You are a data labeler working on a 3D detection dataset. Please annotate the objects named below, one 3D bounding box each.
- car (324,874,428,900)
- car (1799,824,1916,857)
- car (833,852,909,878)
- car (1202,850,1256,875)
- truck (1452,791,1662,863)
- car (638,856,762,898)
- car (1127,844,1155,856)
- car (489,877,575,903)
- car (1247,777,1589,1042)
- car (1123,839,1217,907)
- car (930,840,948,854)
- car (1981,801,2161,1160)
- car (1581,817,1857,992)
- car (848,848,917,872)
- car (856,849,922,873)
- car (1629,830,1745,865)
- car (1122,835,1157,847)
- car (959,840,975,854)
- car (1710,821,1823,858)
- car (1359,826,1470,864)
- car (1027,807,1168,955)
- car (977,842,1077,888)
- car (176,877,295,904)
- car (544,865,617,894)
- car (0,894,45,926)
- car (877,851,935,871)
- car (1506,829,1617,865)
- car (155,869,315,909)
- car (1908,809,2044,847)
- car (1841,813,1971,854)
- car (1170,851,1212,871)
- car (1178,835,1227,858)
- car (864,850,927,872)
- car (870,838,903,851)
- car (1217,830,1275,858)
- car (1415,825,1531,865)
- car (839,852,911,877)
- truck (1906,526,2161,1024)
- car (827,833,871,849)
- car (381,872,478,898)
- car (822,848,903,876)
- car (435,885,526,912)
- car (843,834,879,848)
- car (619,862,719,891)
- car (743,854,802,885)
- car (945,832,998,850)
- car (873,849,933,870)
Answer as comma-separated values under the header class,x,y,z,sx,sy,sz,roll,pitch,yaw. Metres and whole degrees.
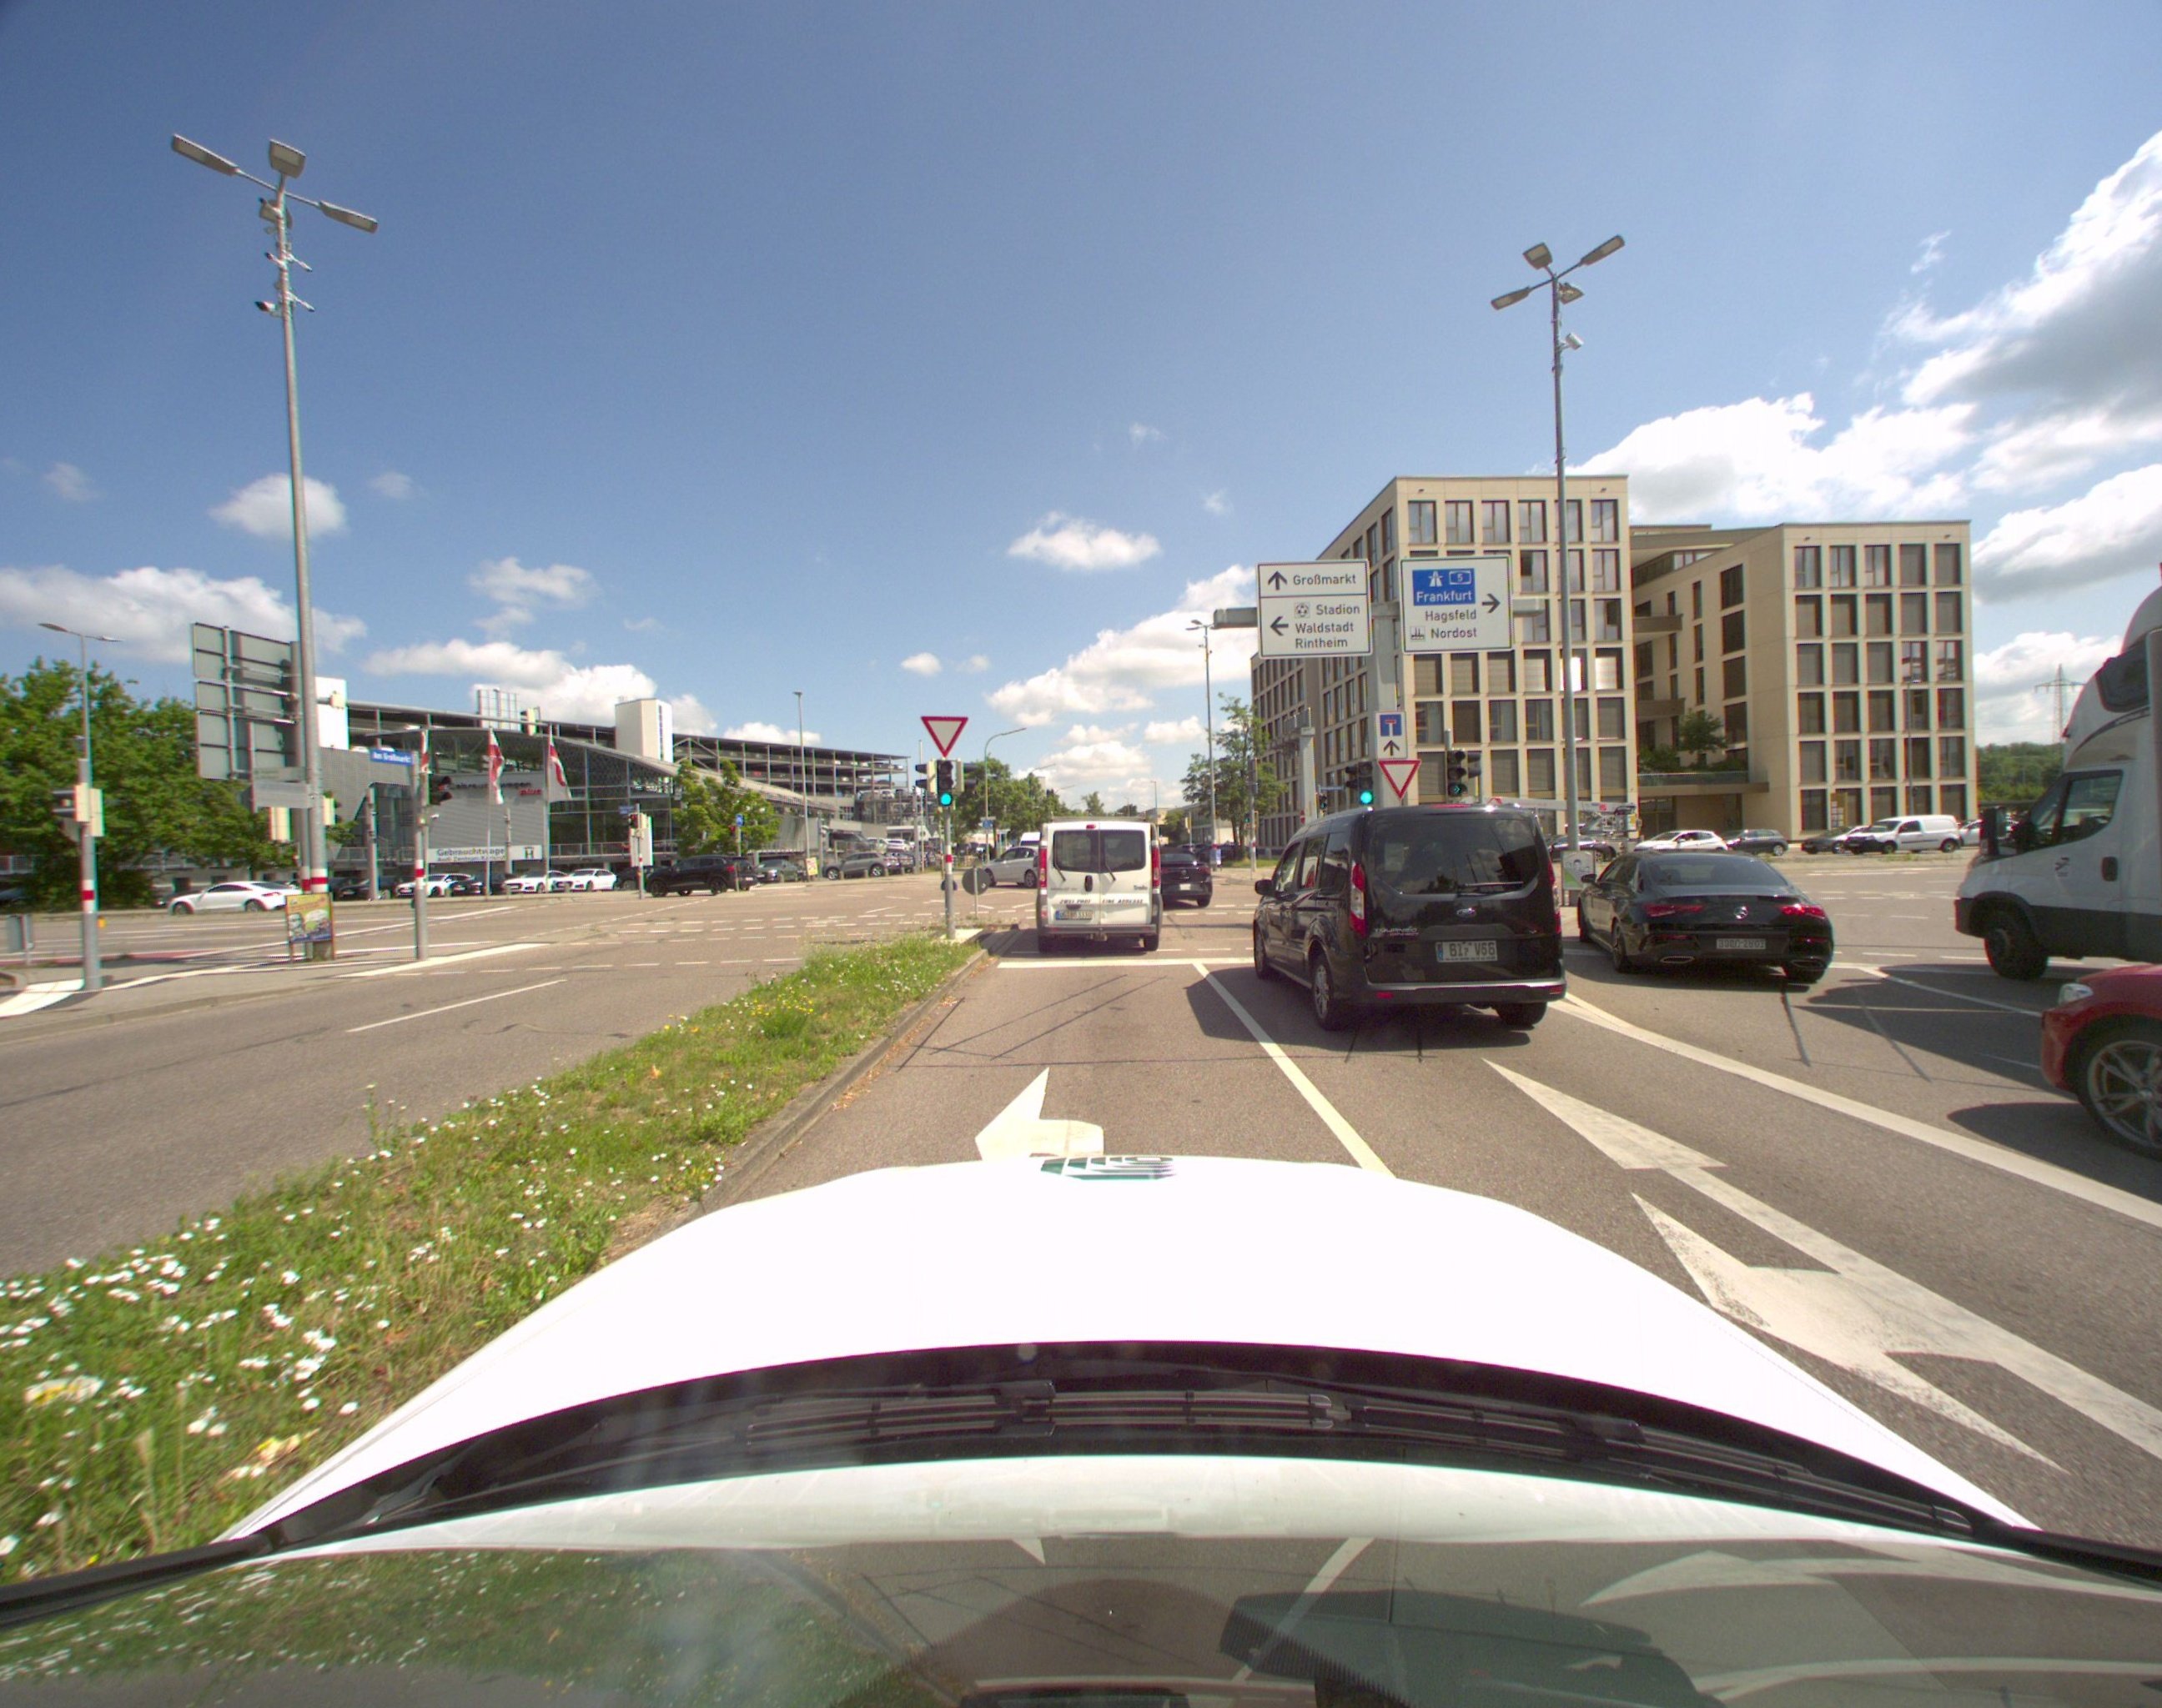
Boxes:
class,x,y,z,sx,sy,sz,roll,pitch,yaw
car,-39.129,1.884,45.368,1.897,1.298,4.583,-1,-4,-3
car,40.700,-0.678,42.755,4.417,1.622,1.827,-1,-1,-1
car,-13.907,0.738,54.161,4.563,1.678,1.906,-1,-1,-2
car,12.167,0.669,66.936,3.983,2.014,1.995,-1,-1,-7
truck,24.590,-1.365,42.239,9.738,3.555,2.669,-1,-1,-6
car,-15.300,0.928,32.776,4.227,1.618,1.782,-1,-1,10
car,9.169,-0.669,124.310,3.980,1.750,1.997,-1,-1,-5
car,-30.835,2.006,45.931,1.897,1.297,4.584,-1,0,-3
car,2.870,0.405,7.968,1.816,1.905,4.003,-1,0,2
car,2.288,0.469,21.905,1.771,1.629,3.993,-1,0,-5
car,-16.686,-0.824,95.797,1.558,1.552,3.597,-1,-1,-4
car,5.823,0.556,2.378,1.851,1.655,4.222,-1,-1,3
car,7.446,0.480,10.001,1.842,1.655,4.244,0,0,26
car,-14.542,0.469,59.842,4.563,1.678,1.906,-1,-1,-2
car,-14.645,0.517,62.359,4.563,1.678,1.906,-1,0,-2
car,28.799,-0.295,38.775,4.187,1.627,1.827,-1,-1,-2
car,10.717,-2.323,149.250,6.322,2.014,2.572,-1,-1,-1
car,-13.317,-0.845,95.162,1.558,1.552,3.597,-1,0,-4
car,35.863,-0.736,42.674,4.417,1.838,1.827,-1,-1,-1
car,17.056,-0.443,41.779,4.970,1.838,1.996,-1,-1,-6
car,0.214,0.382,13.851,1.967,2.060,4.562,-1,0,-1
car,-2.130,0.417,31.270,1.787,1.618,3.952,0,-1,-41
car,-46.421,1.988,44.882,1.897,1.405,4.584,-1,-2,-3
car,-28.143,1.472,45.918,1.786,1.464,3.995,-2,-3,-3
car,-60.388,3.144,44.452,1.897,1.678,4.584,-1,0,-3
car,-15.008,0.589,70.076,4.563,1.678,1.906,-1,-1,-2
car,22.693,-0.336,38.538,4.184,1.627,1.828,-1,-1,0
car,-32.843,1.340,31.736,3.984,1.442,1.856,-1,-1,-8
car,46.412,-1.302,42.311,4.684,1.838,1.832,-1,-1,7
car,39.466,-0.969,39.031,4.417,1.838,1.827,-1,-1,-1
car,11.451,0.775,84.659,3.983,2.014,1.995,-1,-1,-7
car,10.829,-0.688,72.732,3.983,2.014,1.995,-1,-1,-7
car,-14.786,0.530,64.956,4.563,1.678,1.906,-1,0,-2
car,-24.503,-1.240,102.851,3.988,1.552,1.758,0,-1,-11
car,12.613,-0.763,62.350,3.983,2.014,1.995,-1,-1,-7
car,16.918,-0.377,35.211,4.193,1.627,1.824,-1,-1,-6
car,-14.389,0.701,57.189,4.563,1.678,1.906,-1,-1,-2
truck,9.839,-0.659,4.577,3.188,4.027,9.108,-1,-1,16
car,-25.727,-1.437,90.529,4.433,1.801,1.762,-1,-1,-5
car,-36.246,1.685,45.510,1.897,1.297,4.584,-1,0,-3
car,-13.765,0.513,51.467,4.563,1.678,1.906,-1,-1,-2
car,-33.552,2.442,45.686,1.897,1.297,4.584,-1,0,-3
car,-25.801,-1.521,95.670,3.988,1.552,1.758,0,-1,-11
car,-23.718,1.321,47.012,4.731,1.464,1.793,-2,-3,-4
car,-17.738,0.859,47.046,1.897,1.678,4.584,-1,0,-3
car,-13.780,-1.606,102.728,6.374,2.102,1.762,-1,-1,-4
car,-14.731,0.452,67.710,4.563,1.678,1.906,-1,-1,-2
